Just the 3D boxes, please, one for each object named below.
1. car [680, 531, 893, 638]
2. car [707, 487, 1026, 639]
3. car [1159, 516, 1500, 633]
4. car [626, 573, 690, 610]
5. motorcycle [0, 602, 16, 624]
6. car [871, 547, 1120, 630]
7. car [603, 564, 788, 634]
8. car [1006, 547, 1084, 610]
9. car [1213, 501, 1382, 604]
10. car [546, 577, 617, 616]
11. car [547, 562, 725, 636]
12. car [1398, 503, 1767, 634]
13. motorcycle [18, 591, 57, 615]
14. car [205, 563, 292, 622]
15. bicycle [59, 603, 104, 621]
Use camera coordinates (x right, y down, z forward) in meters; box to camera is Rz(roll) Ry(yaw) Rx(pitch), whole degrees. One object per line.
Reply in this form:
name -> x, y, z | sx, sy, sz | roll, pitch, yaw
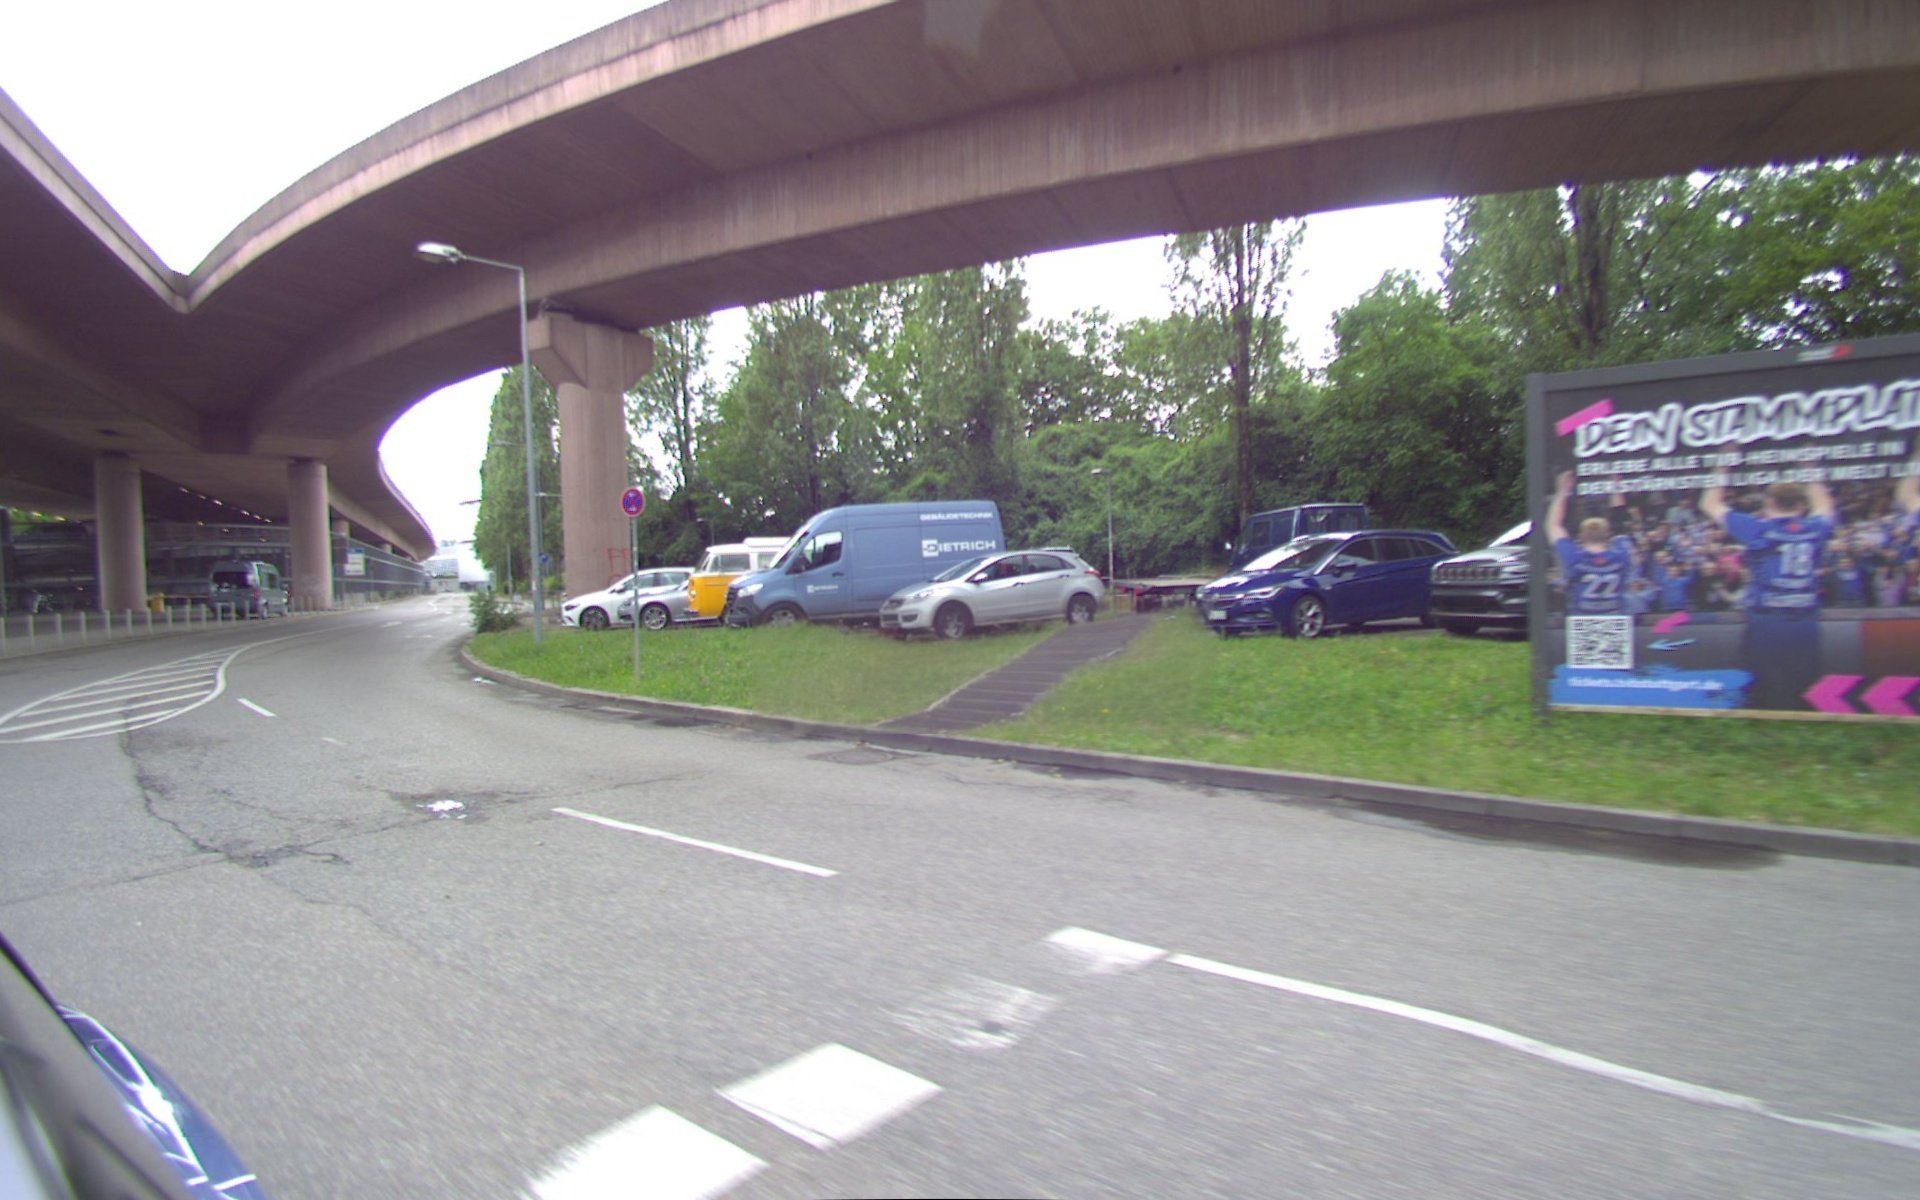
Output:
car -> -3.979, -0.381, 23.126 | 4.493, 2.127, 1.856 | -3, 1, -17
car -> -1.955, -0.798, 21.032 | 6.089, 2.745, 2.375 | -3, 1, -19
car -> 5.511, -0.372, 14.984 | 4.770, 1.499, 2.083 | -1, 1, -28
car -> -13.049, -0.409, 43.915 | 1.766, 1.465, 3.749 | -2, 1, -3
motorcycle -> -52.181, 0.714, 55.030 | 0.535, 1.114, 2.337 | -2, -3, -25
car -> 0.652, -0.239, 19.056 | 4.219, 1.426, 2.007 | -1, 1, -21
car -> -6.524, -0.045, 25.115 | 4.187, 1.381, 2.006 | -4, 2, -15
car -> 2.417, -0.611, 29.664 | 1.874, 1.688, 4.154 | -1, 0, 0
car -> 8.124, -1.076, 24.955 | 2.092, 2.271, 5.024 | -1, 1, -5
car -> -18.533, -0.206, 49.819 | 1.970, 1.490, 4.836 | -5, 4, -5
car -> -8.580, -0.063, 27.209 | 4.322, 1.617, 1.960 | -4, 1, -13
car -> 8.230, -0.406, 13.398 | 4.373, 1.523, 1.903 | -1, 1, -22
motorcycle -> -50.727, 0.176, 55.657 | 0.771, 1.244, 2.545 | -1, -1, -22
car -> -33.749, -0.376, 48.209 | 1.965, 2.632, 6.094 | -1, 1, -21
bicycle -> -52.037, 0.706, 59.957 | 1.986, 0.933, 0.420 | -2, 0, -35
